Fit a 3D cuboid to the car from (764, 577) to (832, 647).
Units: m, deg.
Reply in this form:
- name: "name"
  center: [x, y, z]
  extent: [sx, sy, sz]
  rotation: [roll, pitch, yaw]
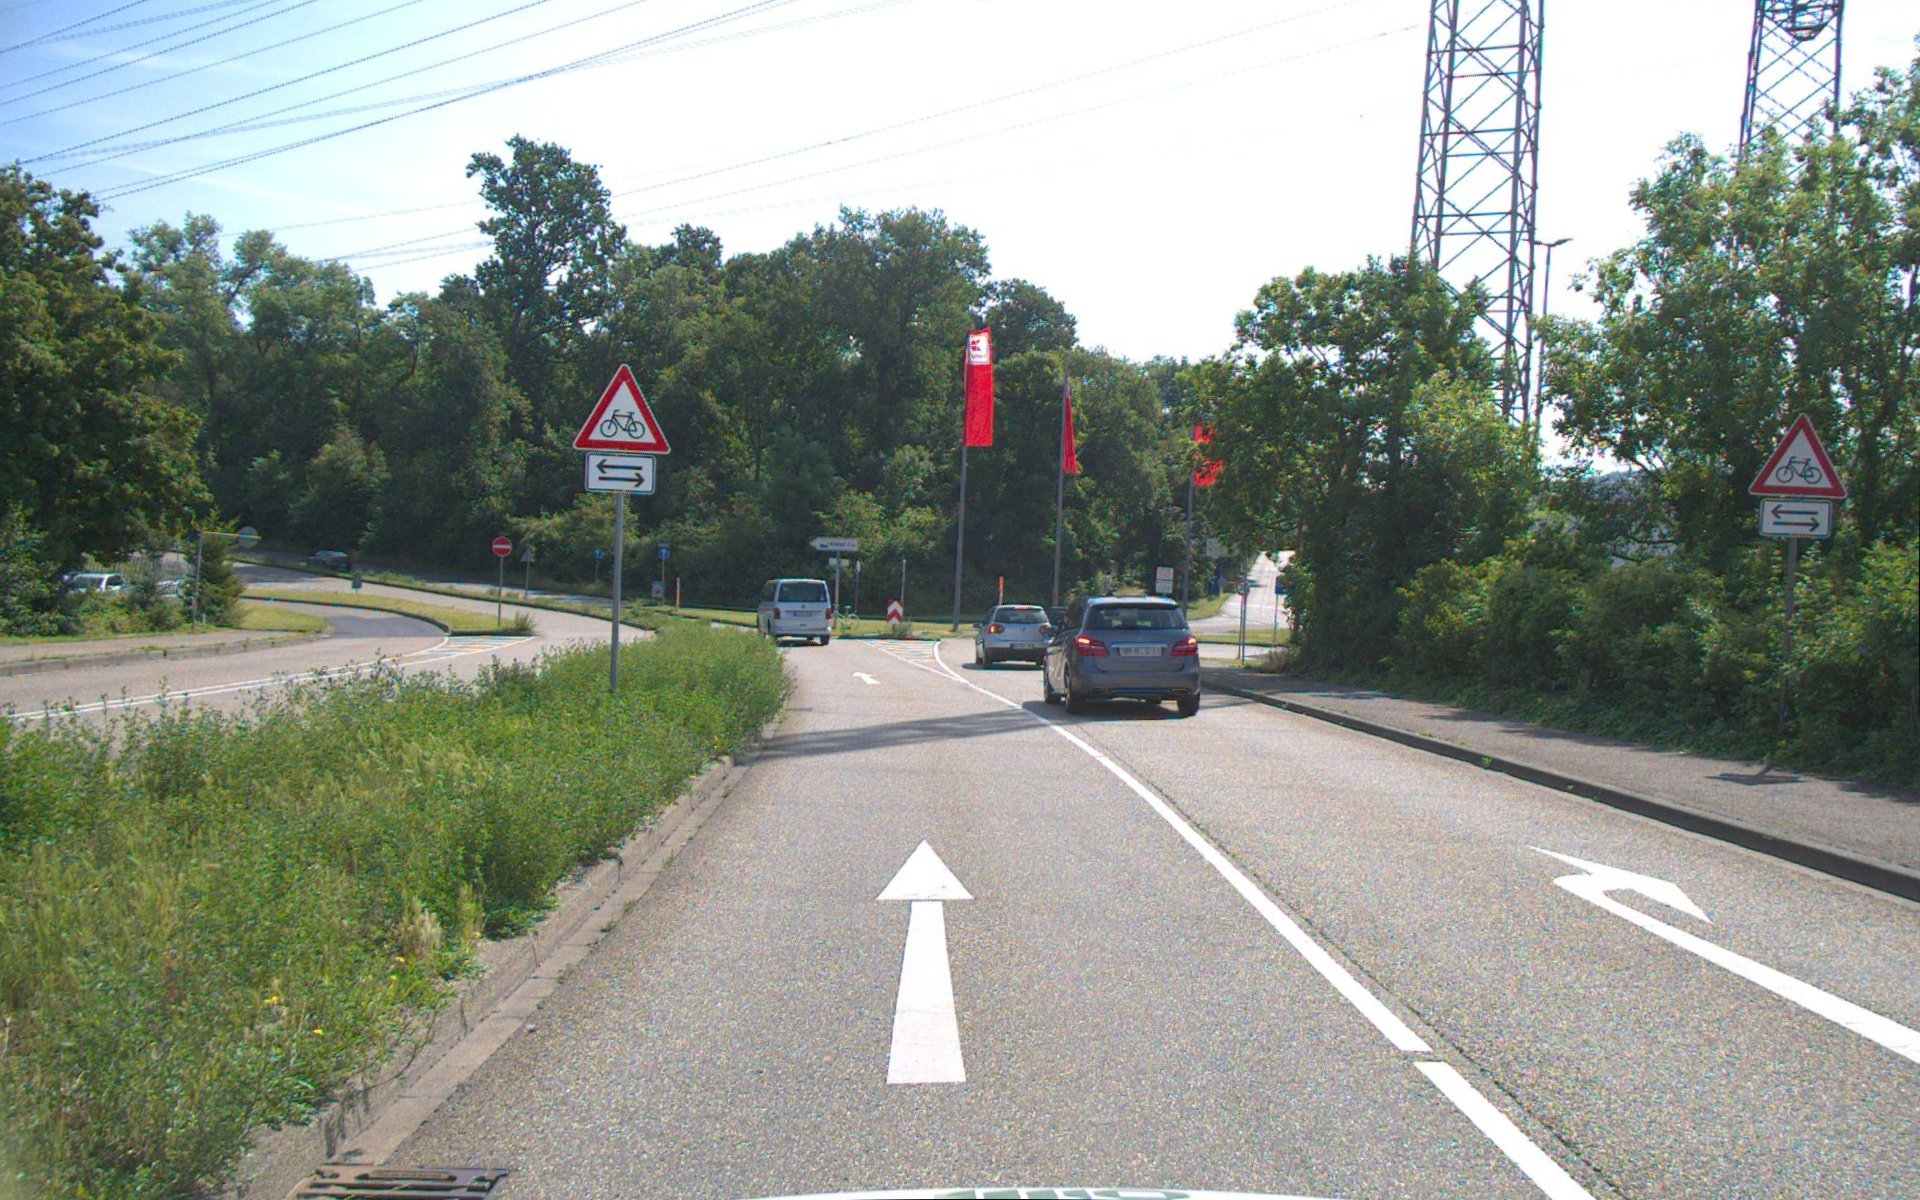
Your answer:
- name: "car"
  center: [-5.002, 0.340, 51.406]
  extent: [1.999, 2.049, 3.996]
  rotation: [1, 0, -5]

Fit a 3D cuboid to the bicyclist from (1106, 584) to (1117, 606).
- name: "bicyclist"
  center: [10.861, -0.362, 118.356]
  extent: [0.661, 1.560, 0.847]
  rotation: [2, 3, 9]

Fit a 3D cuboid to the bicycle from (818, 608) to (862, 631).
- name: "bicycle"
  center: [-4.755, 0.789, 65.481]
  extent: [1.764, 0.904, 0.269]
  rotation: [1, 1, -30]

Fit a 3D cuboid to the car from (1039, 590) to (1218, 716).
- name: "car"
  center: [2.227, 0.689, 22.900]
  extent: [1.819, 1.556, 4.141]
  rotation: [1, -1, -3]

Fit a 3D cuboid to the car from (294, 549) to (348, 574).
- name: "car"
  center: [-44.876, -2.738, 116.100]
  extent: [3.578, 1.593, 1.649]
  rotation: [4, 3, 30]

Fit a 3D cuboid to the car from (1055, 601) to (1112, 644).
- name: "car"
  center: [4.541, 0.798, 60.336]
  extent: [1.736, 1.355, 3.744]
  rotation: [4, 1, 8]

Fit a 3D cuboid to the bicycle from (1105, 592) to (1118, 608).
- name: "bicycle"
  center: [10.847, -0.007, 118.407]
  extent: [0.708, 0.994, 2.189]
  rotation: [3, 4, 9]

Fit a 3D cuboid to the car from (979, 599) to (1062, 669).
- name: "car"
  center: [1.404, 0.794, 39.925]
  extent: [1.818, 1.556, 4.143]
  rotation: [1, 0, 0]
